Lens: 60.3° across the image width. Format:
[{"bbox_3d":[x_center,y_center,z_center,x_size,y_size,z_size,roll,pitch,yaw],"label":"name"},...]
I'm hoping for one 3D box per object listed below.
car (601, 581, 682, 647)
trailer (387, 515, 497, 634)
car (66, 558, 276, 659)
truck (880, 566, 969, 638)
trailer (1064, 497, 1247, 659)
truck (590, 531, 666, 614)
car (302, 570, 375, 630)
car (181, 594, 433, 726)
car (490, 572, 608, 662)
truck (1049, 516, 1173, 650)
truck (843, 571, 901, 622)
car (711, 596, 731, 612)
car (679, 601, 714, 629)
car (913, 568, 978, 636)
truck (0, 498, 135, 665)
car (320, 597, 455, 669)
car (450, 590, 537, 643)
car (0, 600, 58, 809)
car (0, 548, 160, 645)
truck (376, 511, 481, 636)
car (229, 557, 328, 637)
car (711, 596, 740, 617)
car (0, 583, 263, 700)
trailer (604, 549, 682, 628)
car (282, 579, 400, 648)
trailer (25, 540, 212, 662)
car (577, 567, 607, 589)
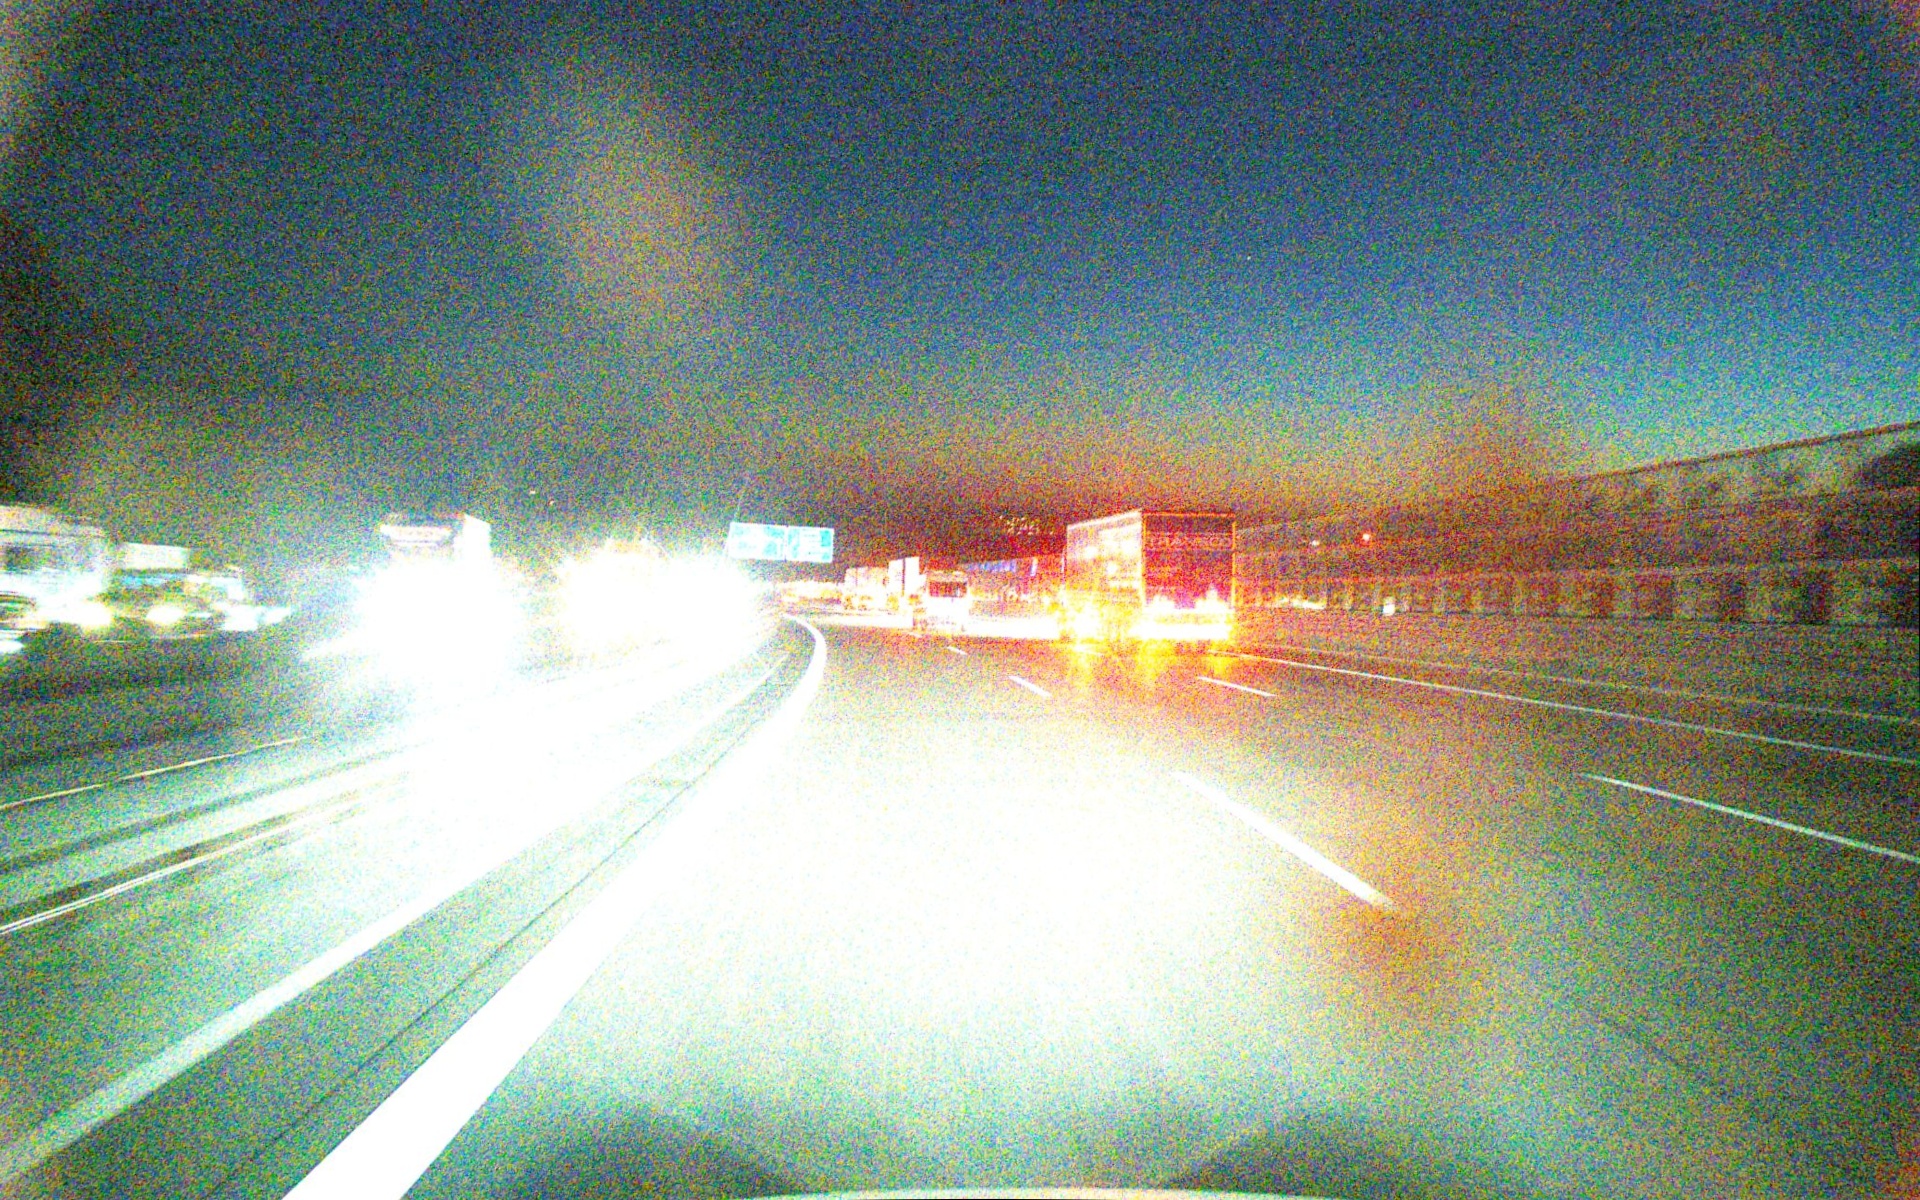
[{"bbox_3d":[-10.054,0.452,52.601,1.839,1.956,5.598,1,-1,-4],"label":"car"},{"bbox_3d":[-18.654,-0.884,60.019,2.770,3.986,8.716,1,0,-11],"label":"trailer"},{"bbox_3d":[-16.284,0.199,34.480,1.864,1.919,5.021,1,-1,1],"label":"car"},{"bbox_3d":[-2.849,0.273,119.758,3.842,4.709,20.976,1,-1,-8],"label":"truck"},{"bbox_3d":[5.499,-0.550,49.483,2.798,4.138,13.191,1,0,-5],"label":"trailer"},{"bbox_3d":[-18.667,-1.451,93.303,3.048,4.168,7.068,5,-2,-5],"label":"truck"},{"bbox_3d":[-22.868,0.004,60.978,1.682,2.115,4.502,1,0,-10],"label":"car"},{"bbox_3d":[-8.420,0.736,21.796,1.593,1.518,4.864,1,-1,-3],"label":"car"},{"bbox_3d":[-9.669,0.414,39.287,1.839,1.956,4.863,1,-1,-4],"label":"car"},{"bbox_3d":[4.970,-0.536,55.794,2.806,4.148,7.502,1,0,-5],"label":"truck"},{"bbox_3d":[-8.590,-0.371,159.780,3.286,4.553,13.869,4,-1,-12],"label":"truck"},{"bbox_3d":[-20.150,0.342,139.727,1.540,1.378,3.994,1,0,-7],"label":"car"},{"bbox_3d":[-14.296,0.802,89.887,1.670,1.451,4.505,1,-1,-7],"label":"car"},{"bbox_3d":[-0.682,0.136,72.219,2.292,2.686,5.241,3,-2,-5],"label":"car"},{"bbox_3d":[-20.173,-0.378,34.414,2.445,3.275,7.907,1,0,-4],"label":"truck"},{"bbox_3d":[-13.213,0.743,38.461,1.867,1.518,4.861,1,-1,-6],"label":"car"},{"bbox_3d":[-13.781,0.534,49.037,1.597,1.374,3.996,5,-2,-4],"label":"car"},{"bbox_3d":[-7.893,0.718,10.283,1.865,1.518,4.867,1,-1,0],"label":"car"},{"bbox_3d":[-15.875,-0.044,28.611,1.866,1.518,4.864,1,-1,-3],"label":"car"},{"bbox_3d":[-17.841,-0.863,55.786,2.777,3.985,4.921,1,0,-11],"label":"truck"},{"bbox_3d":[-21.886,-0.079,53.285,1.957,2.441,4.501,1,0,-10],"label":"car"},{"bbox_3d":[-17.289,0.461,121.975,1.838,1.451,4.507,3,0,-5],"label":"car"},{"bbox_3d":[-12.154,0.585,24.382,1.866,1.518,4.864,1,-1,-3],"label":"car"},{"bbox_3d":[-19.292,-0.568,101.420,3.030,4.159,12.436,5,-2,-4],"label":"trailer"},{"bbox_3d":[-17.596,0.385,47.257,1.954,1.842,4.316,1,0,-4],"label":"car"},{"bbox_3d":[-20.651,0.036,40.891,2.317,2.792,4.987,1,0,-4],"label":"trailer"},{"bbox_3d":[-25.582,-1.532,115.073,1.621,1.503,3.769,0,0,-6],"label":"car"}]
